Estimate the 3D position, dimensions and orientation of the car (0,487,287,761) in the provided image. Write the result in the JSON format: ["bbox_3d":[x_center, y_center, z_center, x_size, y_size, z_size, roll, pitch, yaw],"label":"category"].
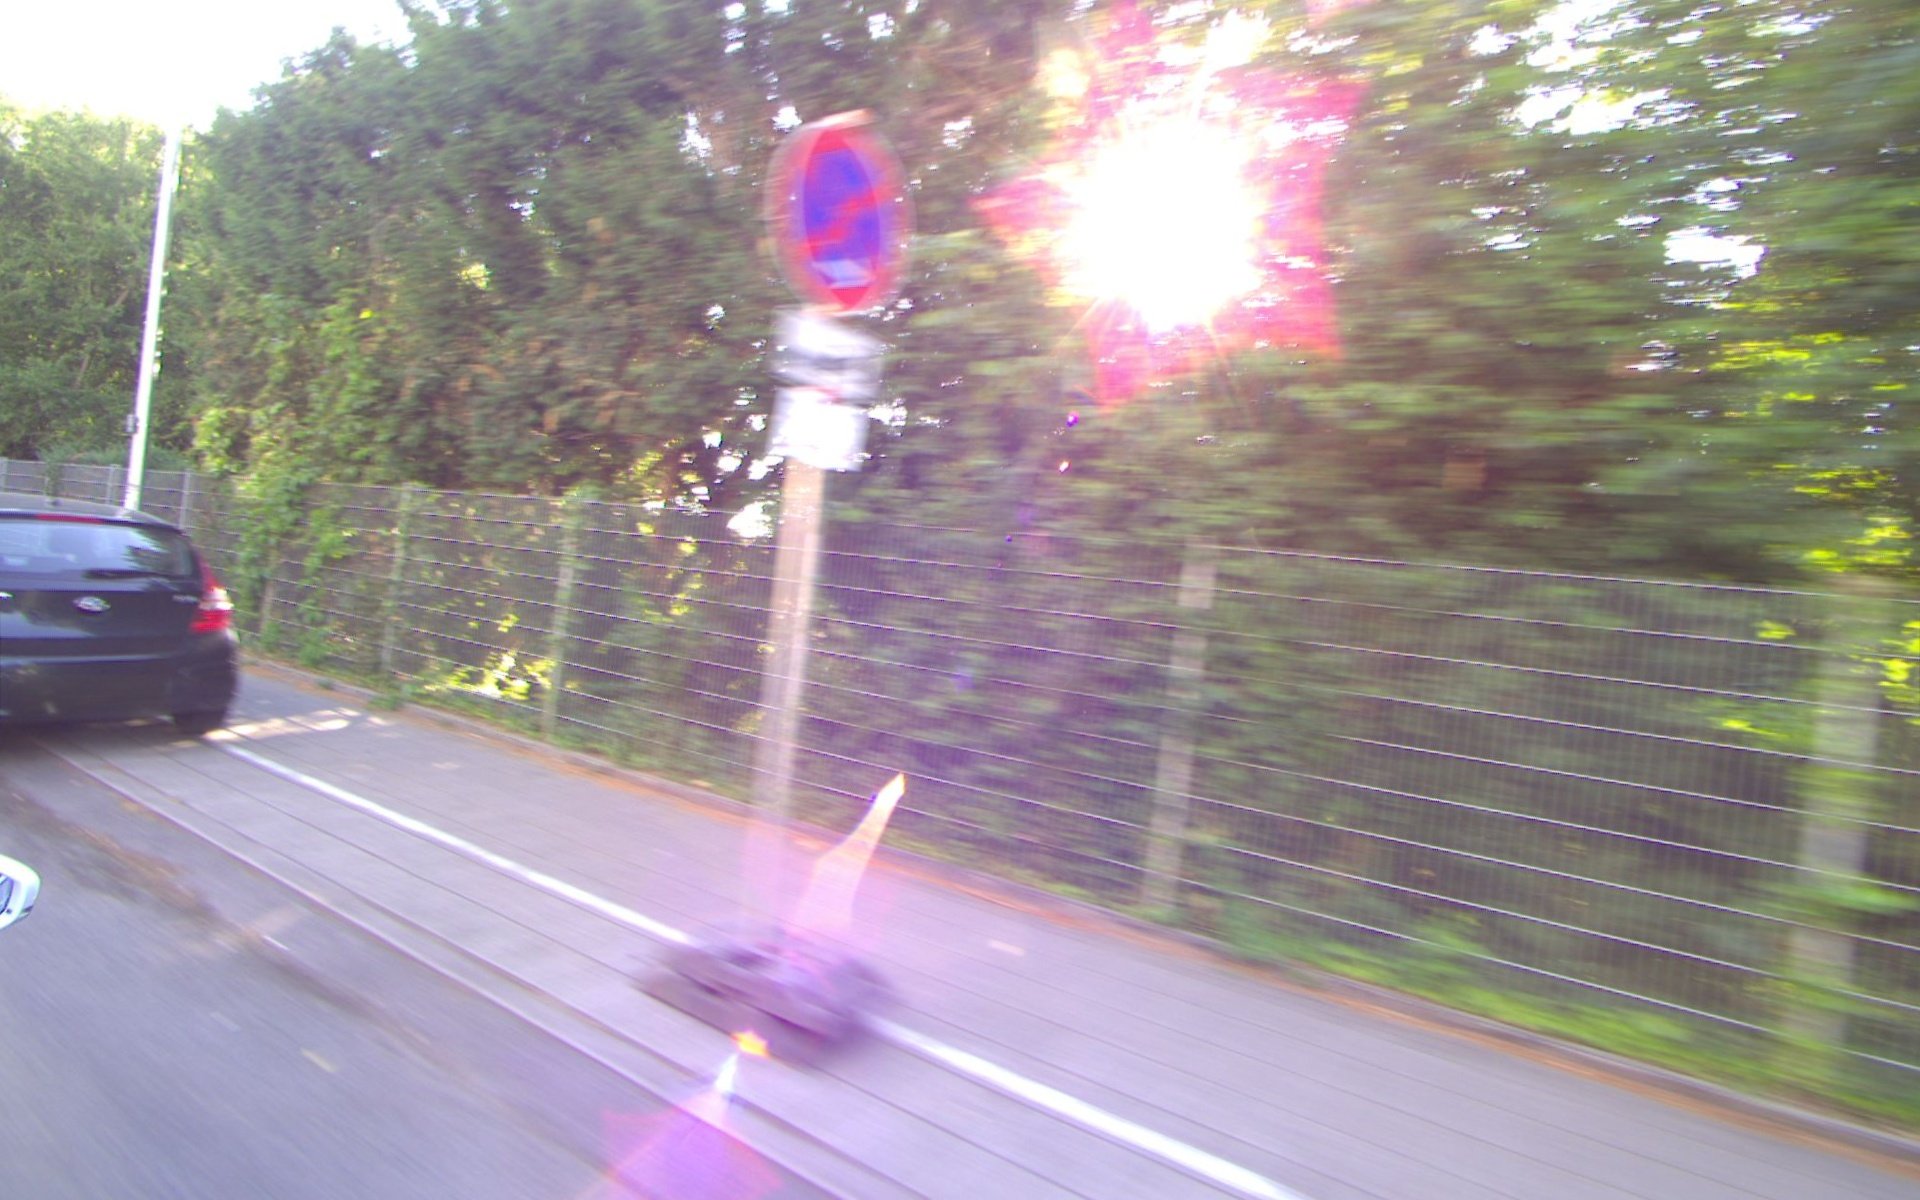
[{"bbox_3d":[-6.500,-0.022,6.769,3.935,1.458,1.796,7,-1,33],"label":"car"}]
